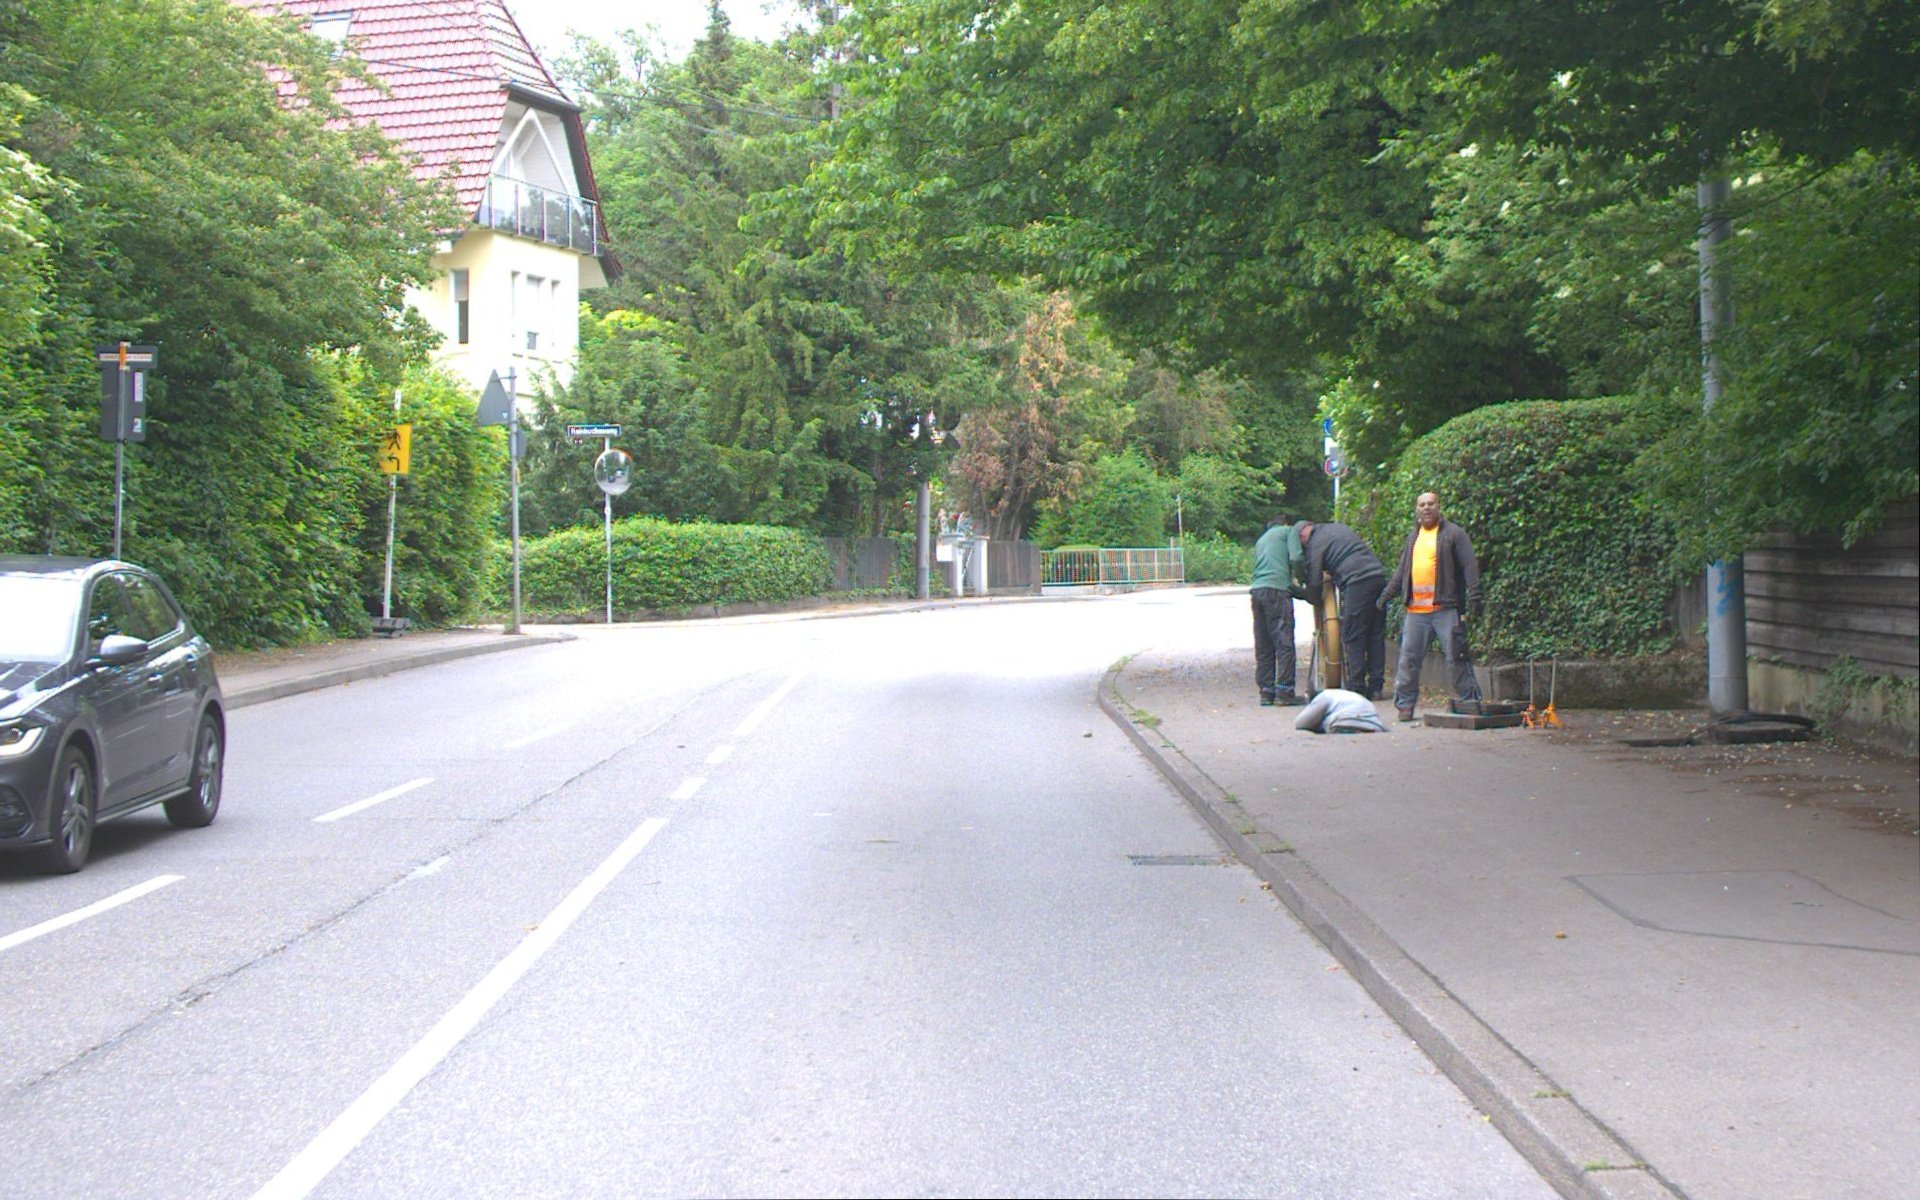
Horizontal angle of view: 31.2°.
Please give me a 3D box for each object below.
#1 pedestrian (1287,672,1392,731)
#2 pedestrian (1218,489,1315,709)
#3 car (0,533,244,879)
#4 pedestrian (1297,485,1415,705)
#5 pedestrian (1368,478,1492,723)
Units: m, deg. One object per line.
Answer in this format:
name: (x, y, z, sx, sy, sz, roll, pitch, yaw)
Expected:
pedestrian: (2.774, 0.741, 25.182, 0.672, 0.392, 0.741, -1, 1, -1)
pedestrian: (2.542, -0.014, 28.500, 0.601, 1.801, 0.517, 0, 1, 41)
car: (-4.775, 0.427, 16.676, 1.681, 1.466, 4.018, -1, 1, 1)
pedestrian: (3.295, -0.051, 28.609, 0.689, 1.801, 0.673, -1, 1, -41)
pedestrian: (3.518, -0.003, 25.782, 0.807, 1.801, 0.741, -1, 1, -1)
